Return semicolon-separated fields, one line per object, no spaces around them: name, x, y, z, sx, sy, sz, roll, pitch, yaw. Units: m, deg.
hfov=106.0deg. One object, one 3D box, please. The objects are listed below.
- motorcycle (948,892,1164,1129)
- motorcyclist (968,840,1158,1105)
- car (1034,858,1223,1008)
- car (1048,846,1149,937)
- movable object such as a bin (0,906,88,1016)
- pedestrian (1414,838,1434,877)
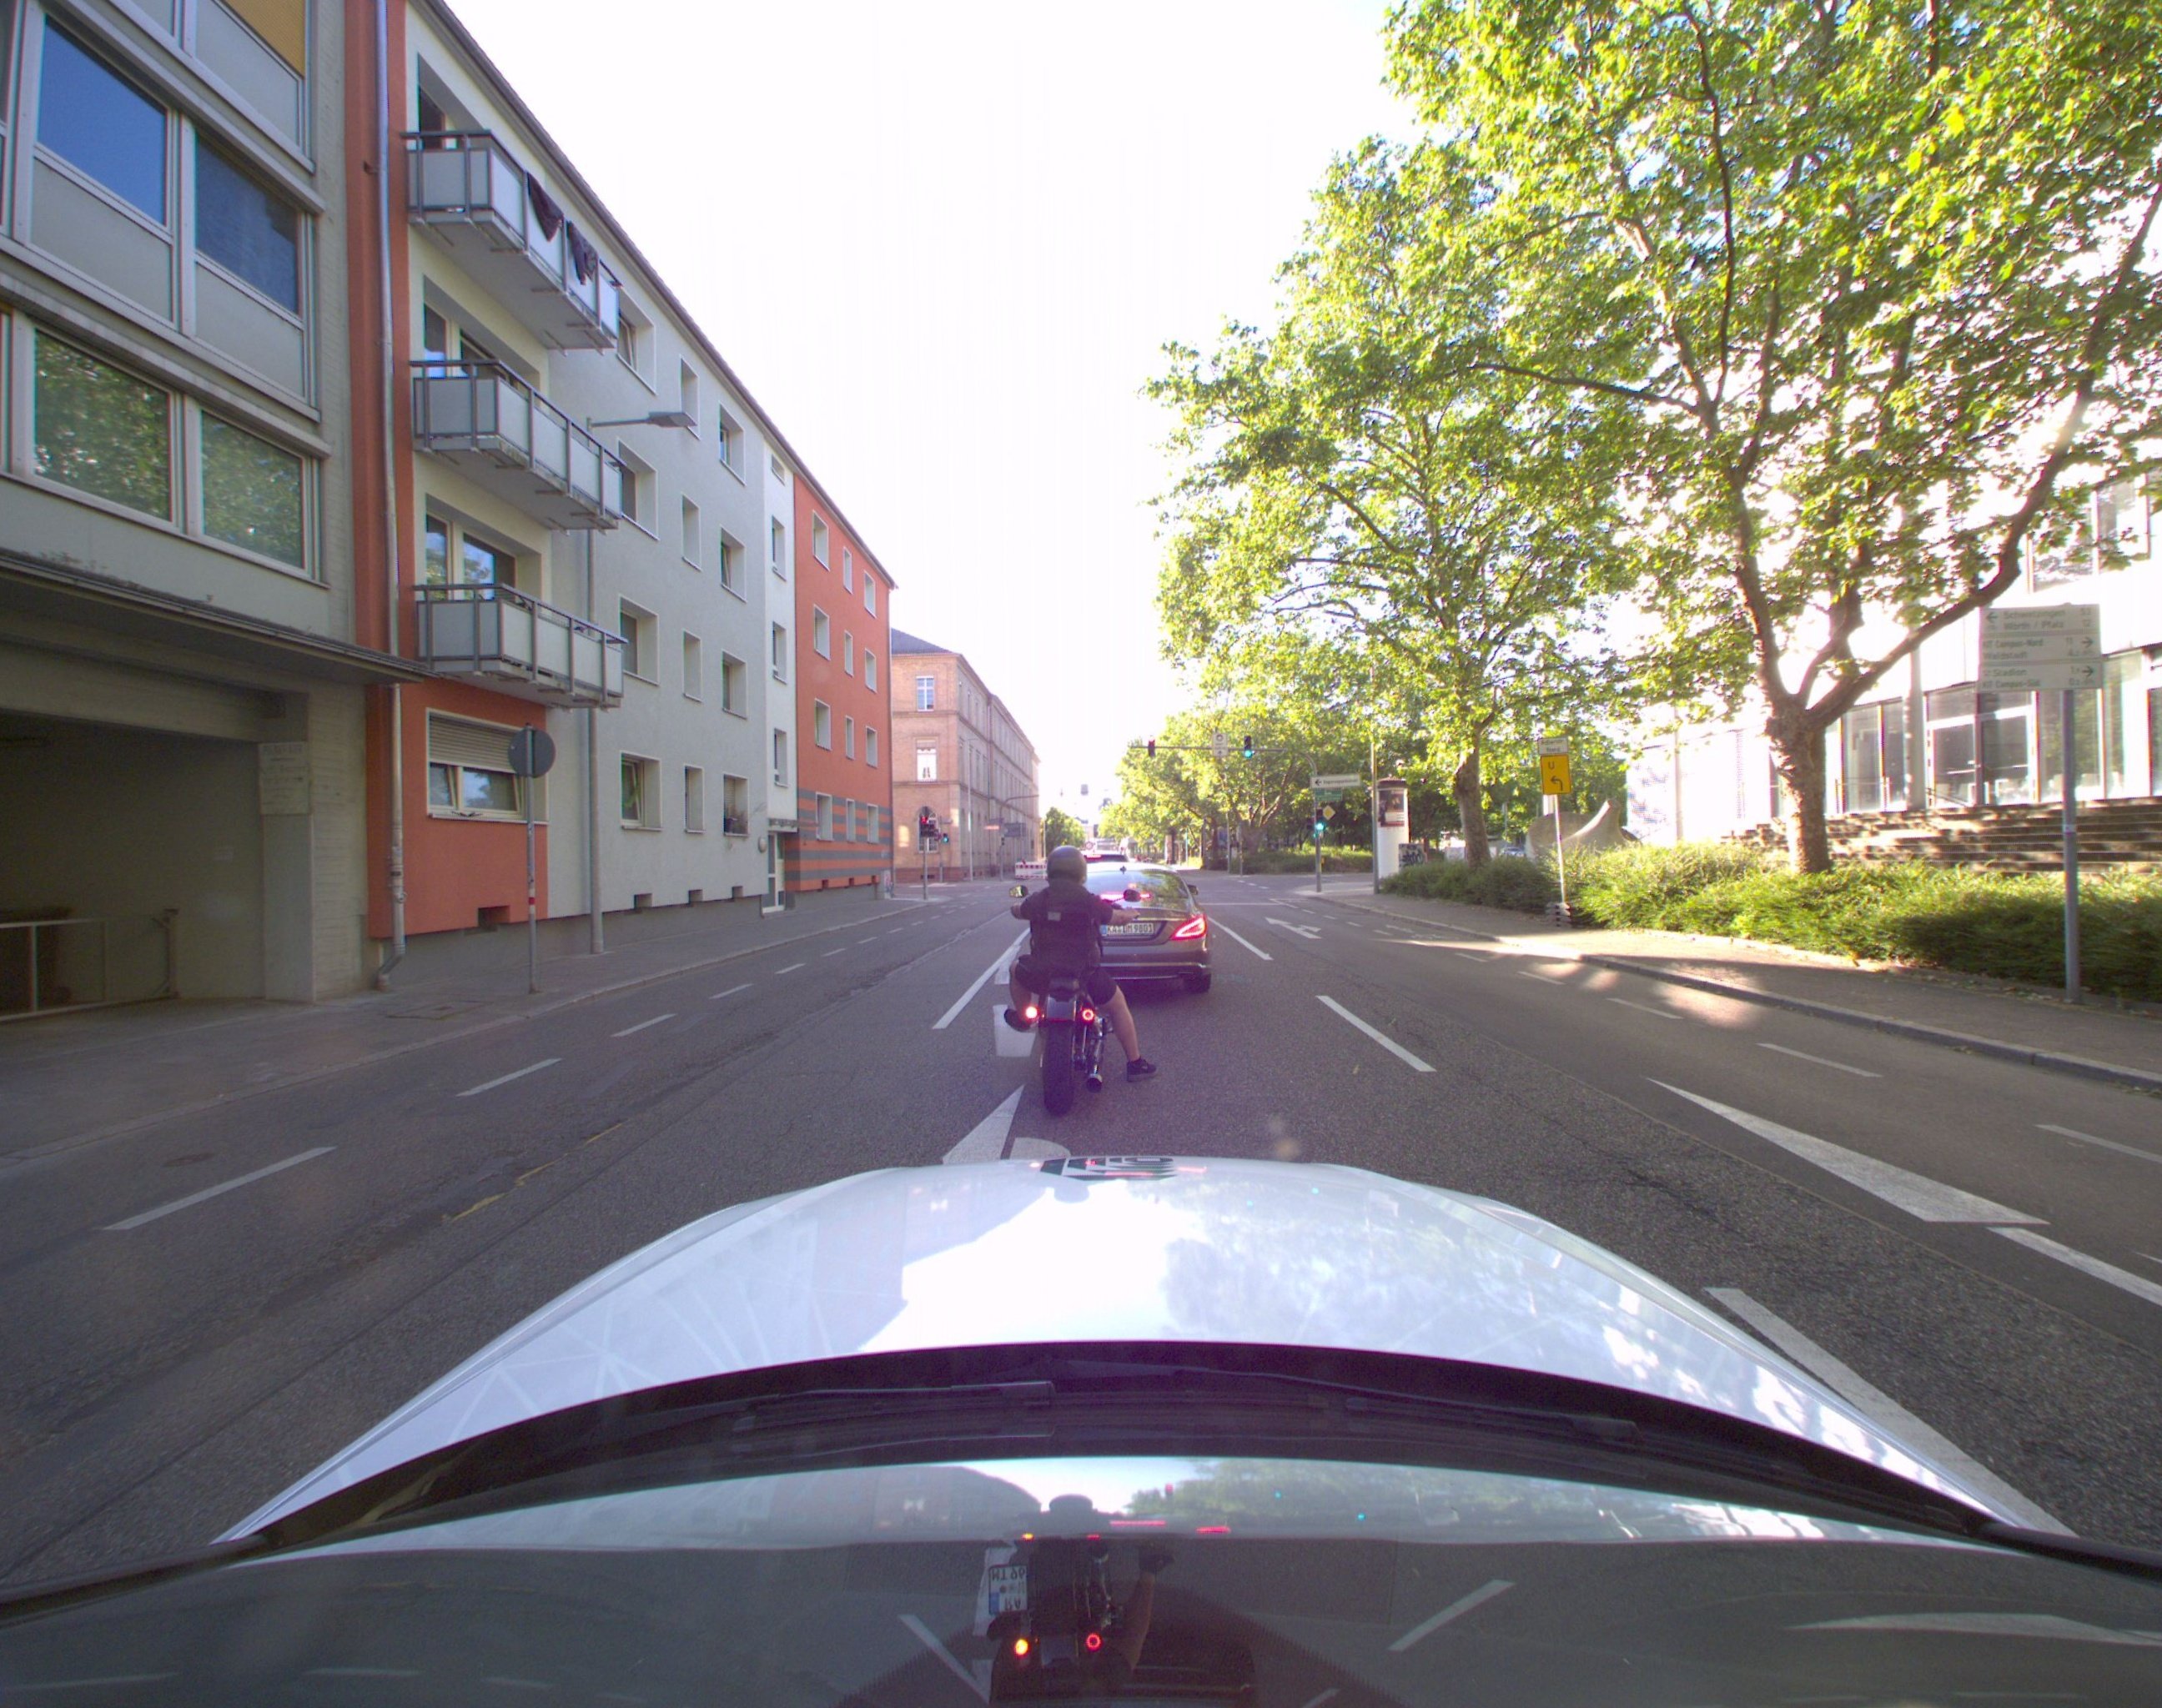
motorcycle;-0.039;0.912;5.637;1.111;1.207;2.217;0;-1;8
motorcyclist;-0.067;0.705;5.418;1.093;1.566;1.074;0;-1;8
car;0.522;0.780;9.794;1.815;1.437;3.807;0;-1;2
car;0.383;0.711;17.082;1.856;1.678;4.001;0;-1;2
movable object such as a bin;-11.282;1.115;8.661;0.533;1.079;0.723;0;-1;3
pedestrian;15.989;0.163;37.993;0.731;1.778;0.732;-1;-1;10
